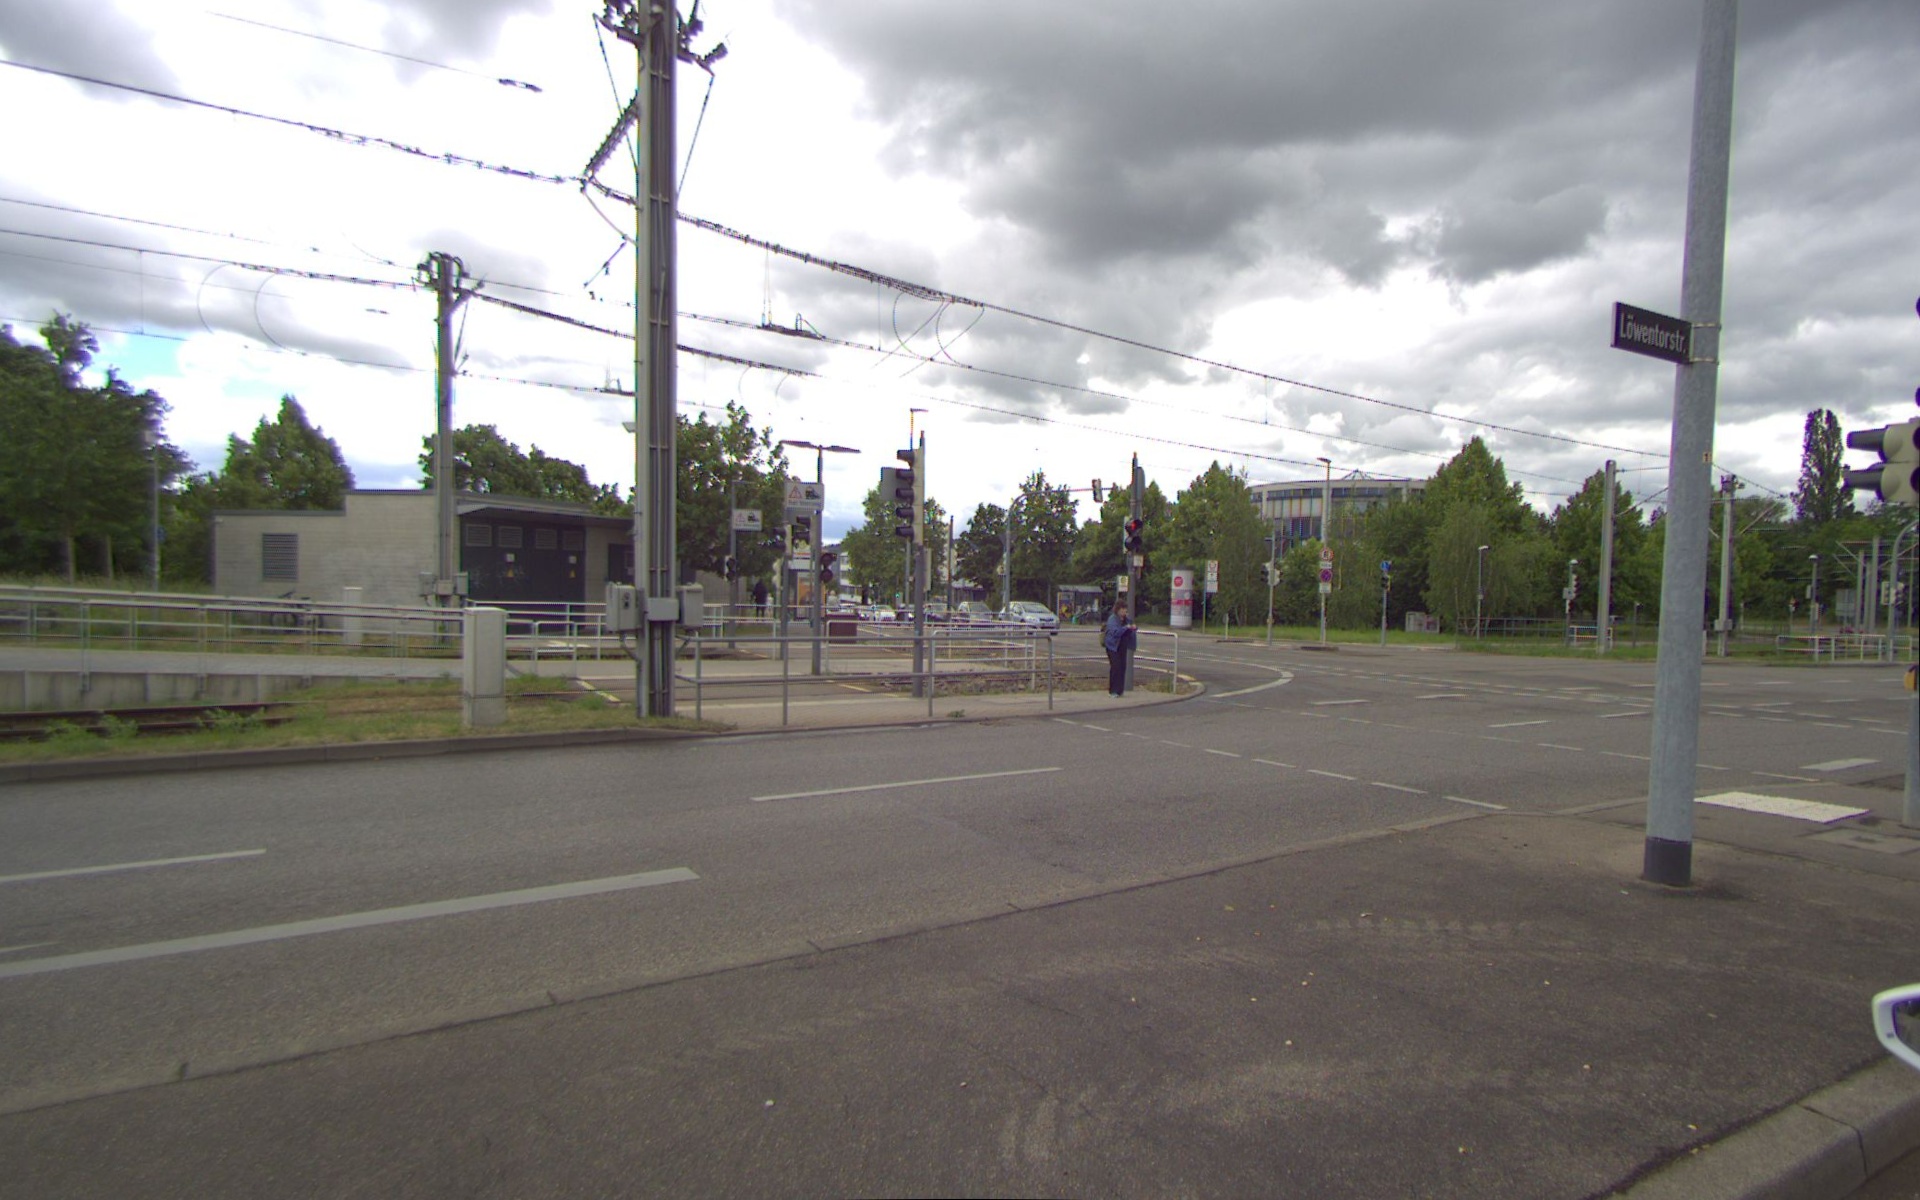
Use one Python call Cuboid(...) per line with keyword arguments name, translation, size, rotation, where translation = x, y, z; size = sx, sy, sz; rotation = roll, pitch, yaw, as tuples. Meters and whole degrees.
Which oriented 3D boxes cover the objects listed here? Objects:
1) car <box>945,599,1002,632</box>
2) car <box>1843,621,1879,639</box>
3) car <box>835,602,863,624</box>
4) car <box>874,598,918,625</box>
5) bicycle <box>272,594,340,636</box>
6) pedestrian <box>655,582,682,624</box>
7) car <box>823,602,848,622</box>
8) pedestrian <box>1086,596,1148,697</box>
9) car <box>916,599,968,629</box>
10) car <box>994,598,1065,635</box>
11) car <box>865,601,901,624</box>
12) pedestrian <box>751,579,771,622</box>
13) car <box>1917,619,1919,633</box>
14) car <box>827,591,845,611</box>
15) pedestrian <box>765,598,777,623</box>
Cuboid(name="car", translation=(0.664, 0.795, 53.863), size=(1.776, 1.617, 3.982), rotation=(2, 0, -20))
Cuboid(name="car", translation=(97.561, 3.229, 108.823), size=(1.842, 1.815, 3.996), rotation=(2, 0, 26))
Cuboid(name="car", translation=(-9.598, 1.138, 86.728), size=(1.869, 1.805, 3.988), rotation=(1, 0, -14))
Cuboid(name="car", translation=(-4.153, 0.699, 64.573), size=(1.776, 1.617, 3.982), rotation=(2, 0, -20))
Cuboid(name="bicycle", translation=(-17.374, 0.396, 26.688), size=(1.778, 1.045, 0.536), rotation=(2, 0, 21))
Cuboid(name="pedestrian", translation=(-9.905, 0.102, 34.114), size=(0.590, 1.377, 0.616), rotation=(2, 0, 18))
Cuboid(name="car", translation=(-11.679, 1.112, 94.167), size=(1.869, 1.805, 3.990), rotation=(1, 0, -13))
Cuboid(name="pedestrian", translation=(2.509, 0.732, 16.079), size=(0.712, 1.557, 0.630), rotation=(2, 0, -33))
Cuboid(name="car", translation=(-1.067, 0.762, 58.036), size=(1.776, 1.617, 3.982), rotation=(2, 0, -20))
Cuboid(name="car", translation=(3.194, 0.734, 46.897), size=(1.848, 1.617, 3.982), rotation=(2, 0, -20))
Cuboid(name="car", translation=(-5.768, 0.927, 74.896), size=(1.775, 1.617, 3.985), rotation=(2, 0, -17))
Cuboid(name="pedestrian", translation=(-8.375, 0.012, 42.174), size=(0.700, 1.751, 0.674), rotation=(2, 0, -19))
Cuboid(name="car", translation=(114.016, 3.067, 117.182), size=(1.599, 1.733, 3.806), rotation=(2, 0, 12))
Cuboid(name="car", translation=(-14.617, 0.103, 118.105), size=(1.964, 2.218, 5.800), rotation=(1, 0, -9))
Cuboid(name="pedestrian", translation=(-12.096, 0.679, 64.246), size=(0.633, 1.557, 0.521), rotation=(2, 0, -2))
